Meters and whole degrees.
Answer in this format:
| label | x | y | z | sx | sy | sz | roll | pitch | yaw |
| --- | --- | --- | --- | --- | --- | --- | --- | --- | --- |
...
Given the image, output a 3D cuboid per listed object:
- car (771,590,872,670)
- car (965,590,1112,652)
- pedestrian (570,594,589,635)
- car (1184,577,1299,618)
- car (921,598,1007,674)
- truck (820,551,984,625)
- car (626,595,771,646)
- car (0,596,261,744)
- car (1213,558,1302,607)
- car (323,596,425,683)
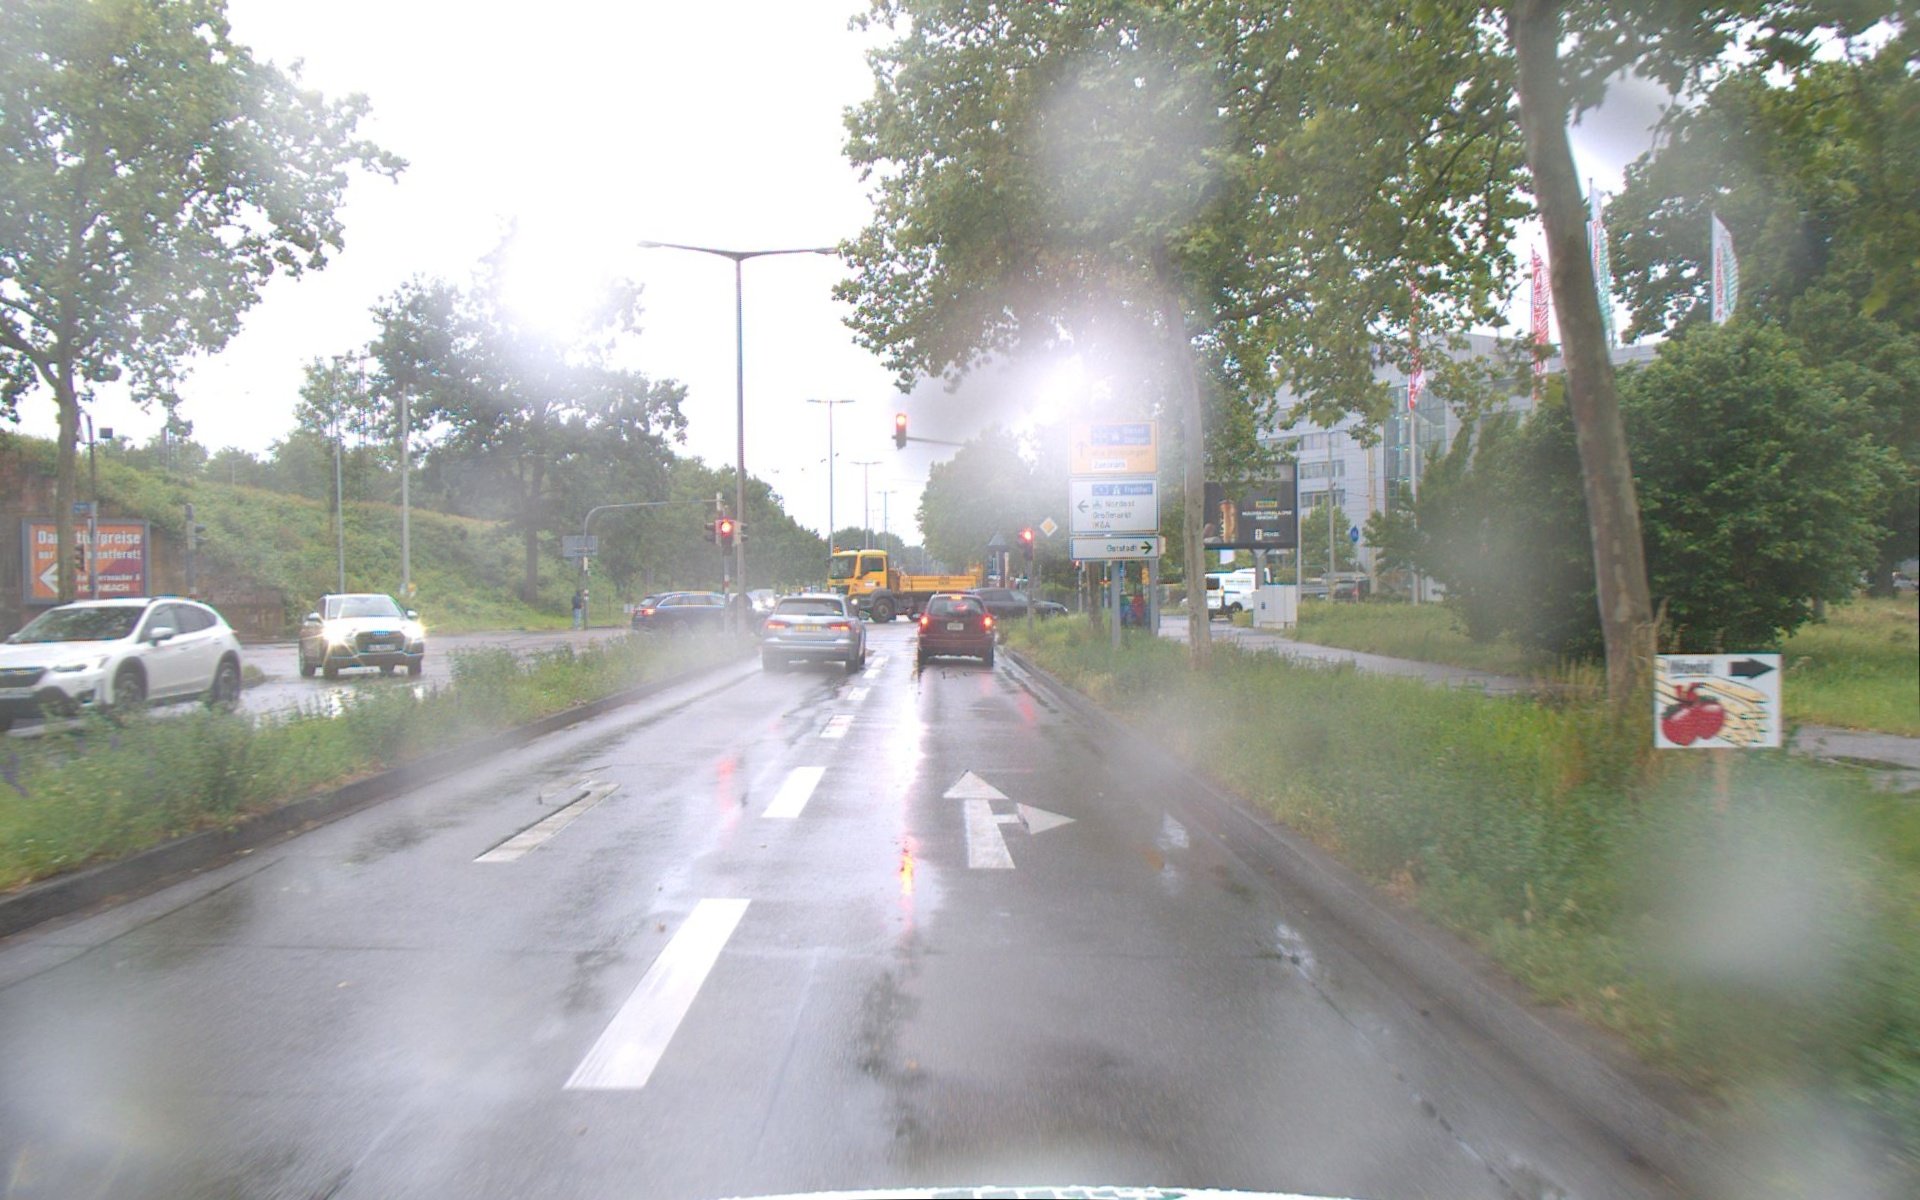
| label | x | y | z | sx | sy | sz | roll | pitch | yaw |
| --- | --- | --- | --- | --- | --- | --- | --- | --- | --- |
| car | -2.664 | 0.565 | 32.710 | 1.655 | 1.458 | 4.573 | 0 | 0 | -1 |
| car | 2.376 | 0.583 | 49.339 | 4.348 | 1.563 | 1.775 | -3 | 3 | -41 |
| pedestrian | -17.033 | 0.660 | 74.091 | 0.522 | 1.817 | 0.673 | 0 | -1 | 17 |
| car | 11.101 | -0.099 | 65.170 | 4.327 | 1.564 | 1.784 | -1 | 0 | -30 |
| car | 0.056 | 0.758 | 36.657 | 1.759 | 1.564 | 4.386 | 1 | 0 | -1 |
| truck | -2.492 | -0.530 | 72.505 | 6.977 | 3.107 | 2.611 | -1 | 0 | -38 |
| car | -8.457 | 0.651 | 53.593 | 4.327 | 1.564 | 1.784 | -1 | 0 | -30 |
| car | -10.574 | 0.791 | 20.618 | 1.819 | 1.617 | 4.518 | -1 | 0 | -1 |
| car | 14.851 | -0.872 | 82.438 | 4.339 | 2.228 | 1.779 | -4 | 1 | -36 |
| car | -11.981 | 0.760 | 33.696 | 1.830 | 1.617 | 4.490 | -1 | 0 | -21 |
